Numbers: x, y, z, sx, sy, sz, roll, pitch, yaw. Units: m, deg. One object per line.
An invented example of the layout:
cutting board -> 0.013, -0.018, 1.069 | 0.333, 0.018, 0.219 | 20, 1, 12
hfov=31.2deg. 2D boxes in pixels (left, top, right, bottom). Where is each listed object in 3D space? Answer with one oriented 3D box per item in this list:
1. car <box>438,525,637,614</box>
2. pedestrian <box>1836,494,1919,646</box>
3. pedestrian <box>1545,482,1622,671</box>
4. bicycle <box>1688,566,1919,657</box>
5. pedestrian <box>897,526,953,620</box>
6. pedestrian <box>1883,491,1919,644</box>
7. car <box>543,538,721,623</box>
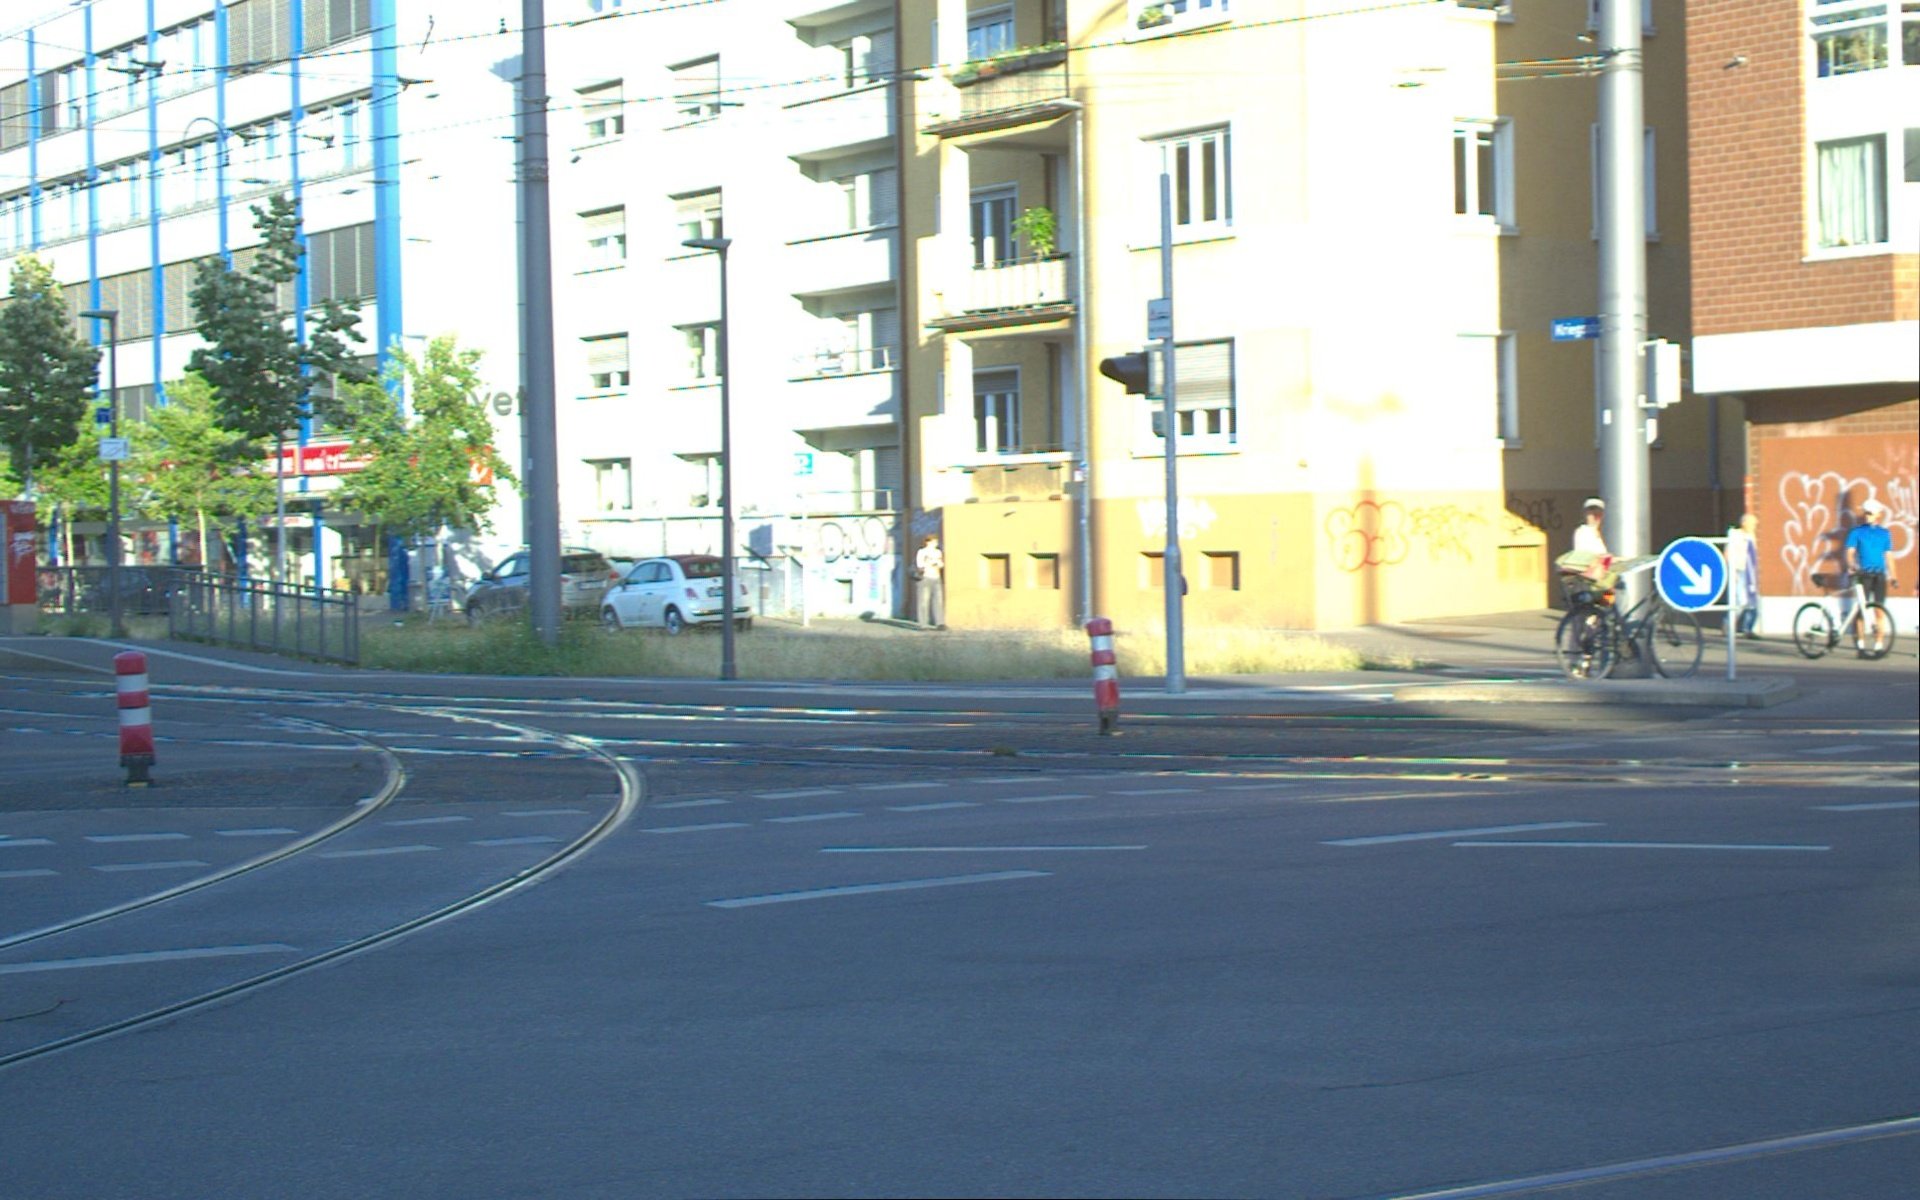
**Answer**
car -> -8.540, -0.621, 69.276 | 2.113, 1.699, 4.349 | -2, 1, -36
pedestrian -> 10.889, -0.360, 40.663 | 0.813, 1.772, 0.639 | -2, 1, -41
pedestrian -> 5.701, -0.219, 31.418 | 0.418, 1.702, 0.515 | -2, 1, -33
bicycle -> 10.067, 0.123, 40.294 | 0.929, 1.014, 3.063 | -2, 1, -40
pedestrian -> -0.610, -0.472, 59.560 | 0.709, 1.593, 0.734 | -2, 1, -24
pedestrian -> 11.427, -0.389, 40.110 | 0.915, 1.772, 0.873 | -2, 1, -39
car -> -6.194, -0.362, 64.609 | 1.734, 1.415, 3.542 | -2, -1, -36
